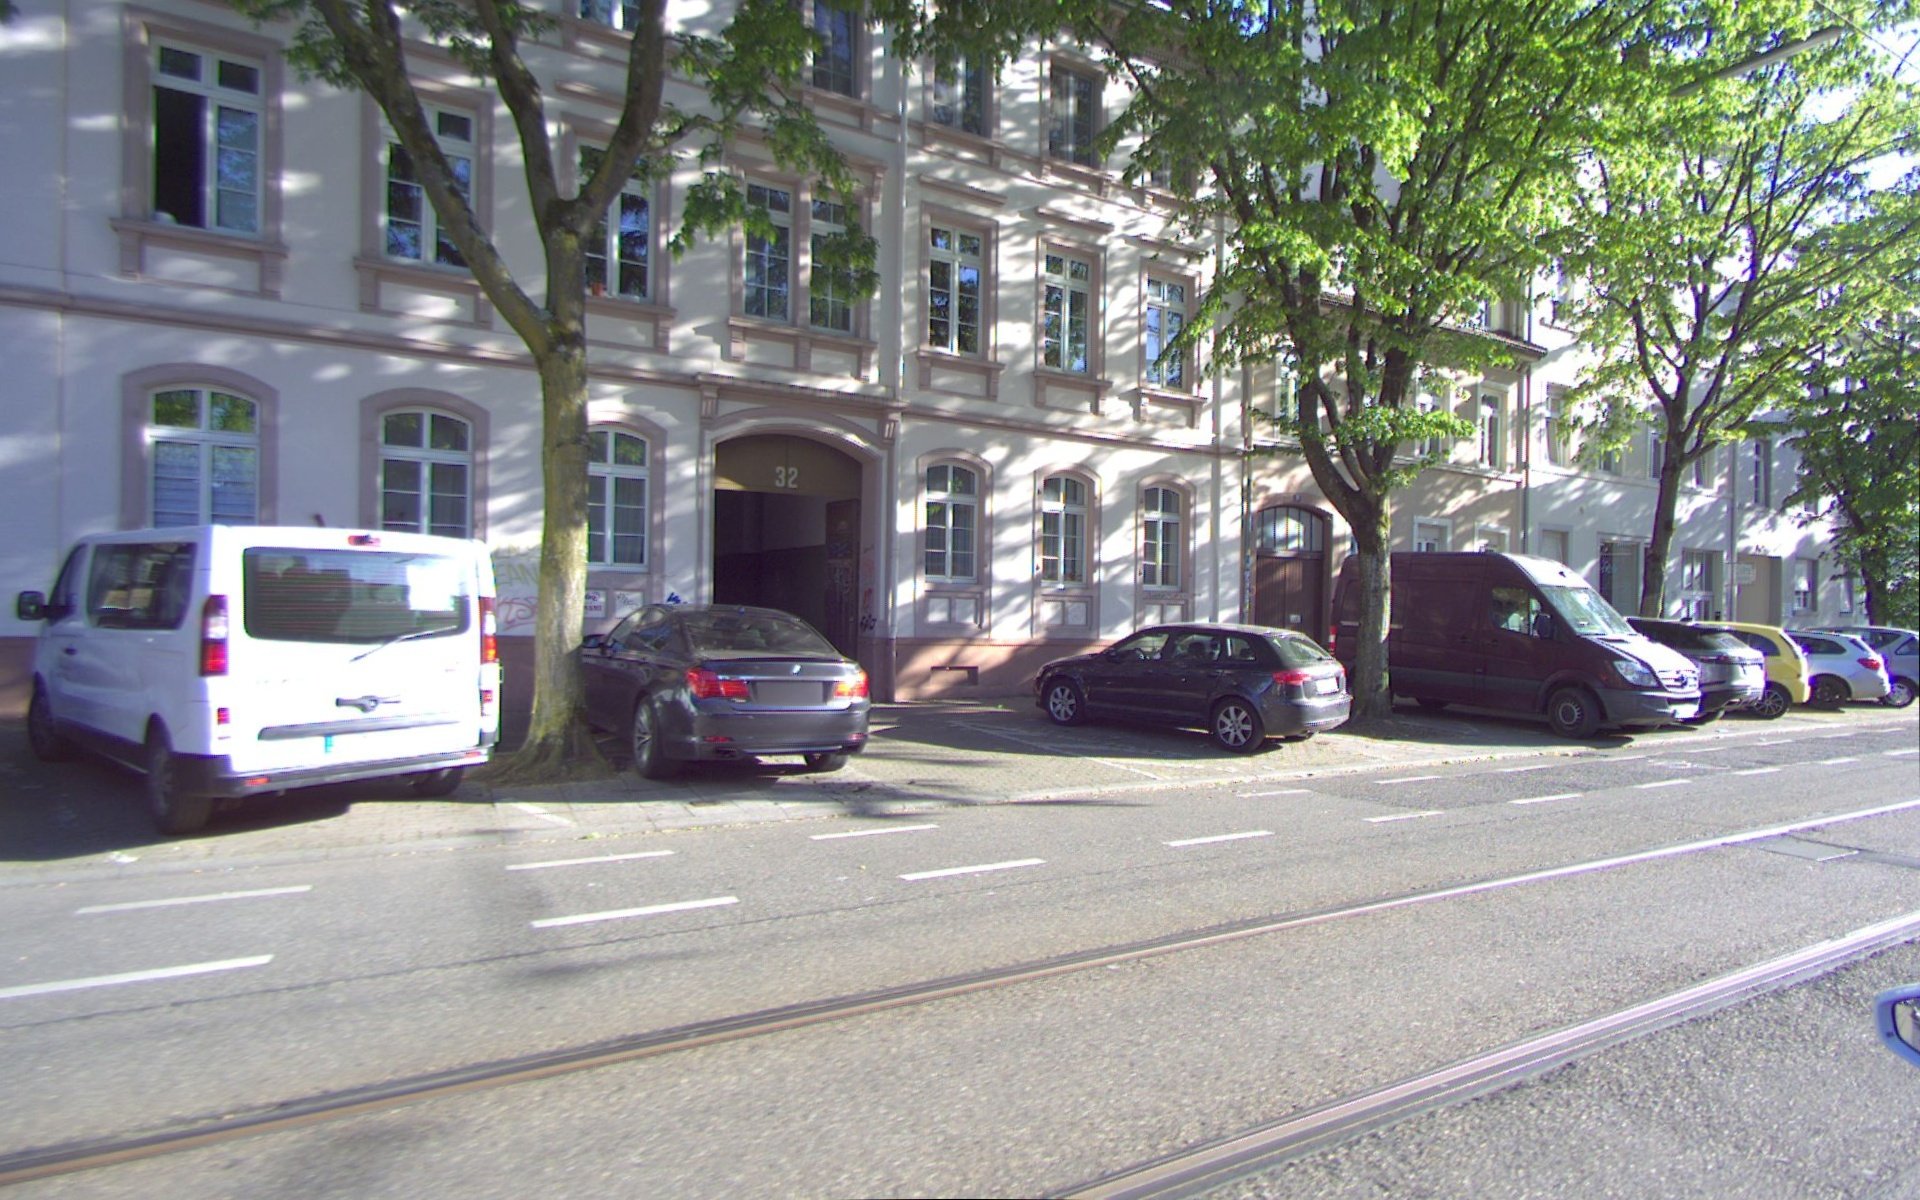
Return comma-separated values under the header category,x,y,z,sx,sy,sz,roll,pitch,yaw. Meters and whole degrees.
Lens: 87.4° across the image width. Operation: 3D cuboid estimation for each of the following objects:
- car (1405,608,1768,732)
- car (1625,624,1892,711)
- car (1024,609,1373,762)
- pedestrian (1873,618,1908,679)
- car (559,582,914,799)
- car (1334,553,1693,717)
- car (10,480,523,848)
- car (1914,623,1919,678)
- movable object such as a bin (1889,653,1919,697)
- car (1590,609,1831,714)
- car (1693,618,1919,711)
category,x,y,z,sx,sy,sz,roll,pitch,yaw
car,10.393,1.050,17.090,2.139,1.747,4.804,1,-1,-31
car,16.244,1.299,20.582,1.691,1.573,4.117,2,-2,-44
car,2.894,0.951,12.833,1.659,1.472,4.045,2,1,-44
pedestrian,28.989,1.505,31.295,0.616,1.862,0.641,1,-1,-28
car,-2.474,0.656,9.995,1.933,1.597,4.666,1,1,-33
car,8.378,0.463,15.641,2.139,2.146,4.414,1,0,-31
car,-5.670,0.365,7.941,4.865,2.040,2.066,0,-1,39
car,28.540,1.513,27.313,3.594,1.550,1.877,4,1,42
movable object such as a bin,21.766,1.711,22.946,0.662,0.957,0.618,1,0,-30
car,13.548,1.054,18.359,3.315,1.574,1.381,3,3,30
car,18.669,1.319,21.917,1.681,1.699,3.970,1,0,-28
